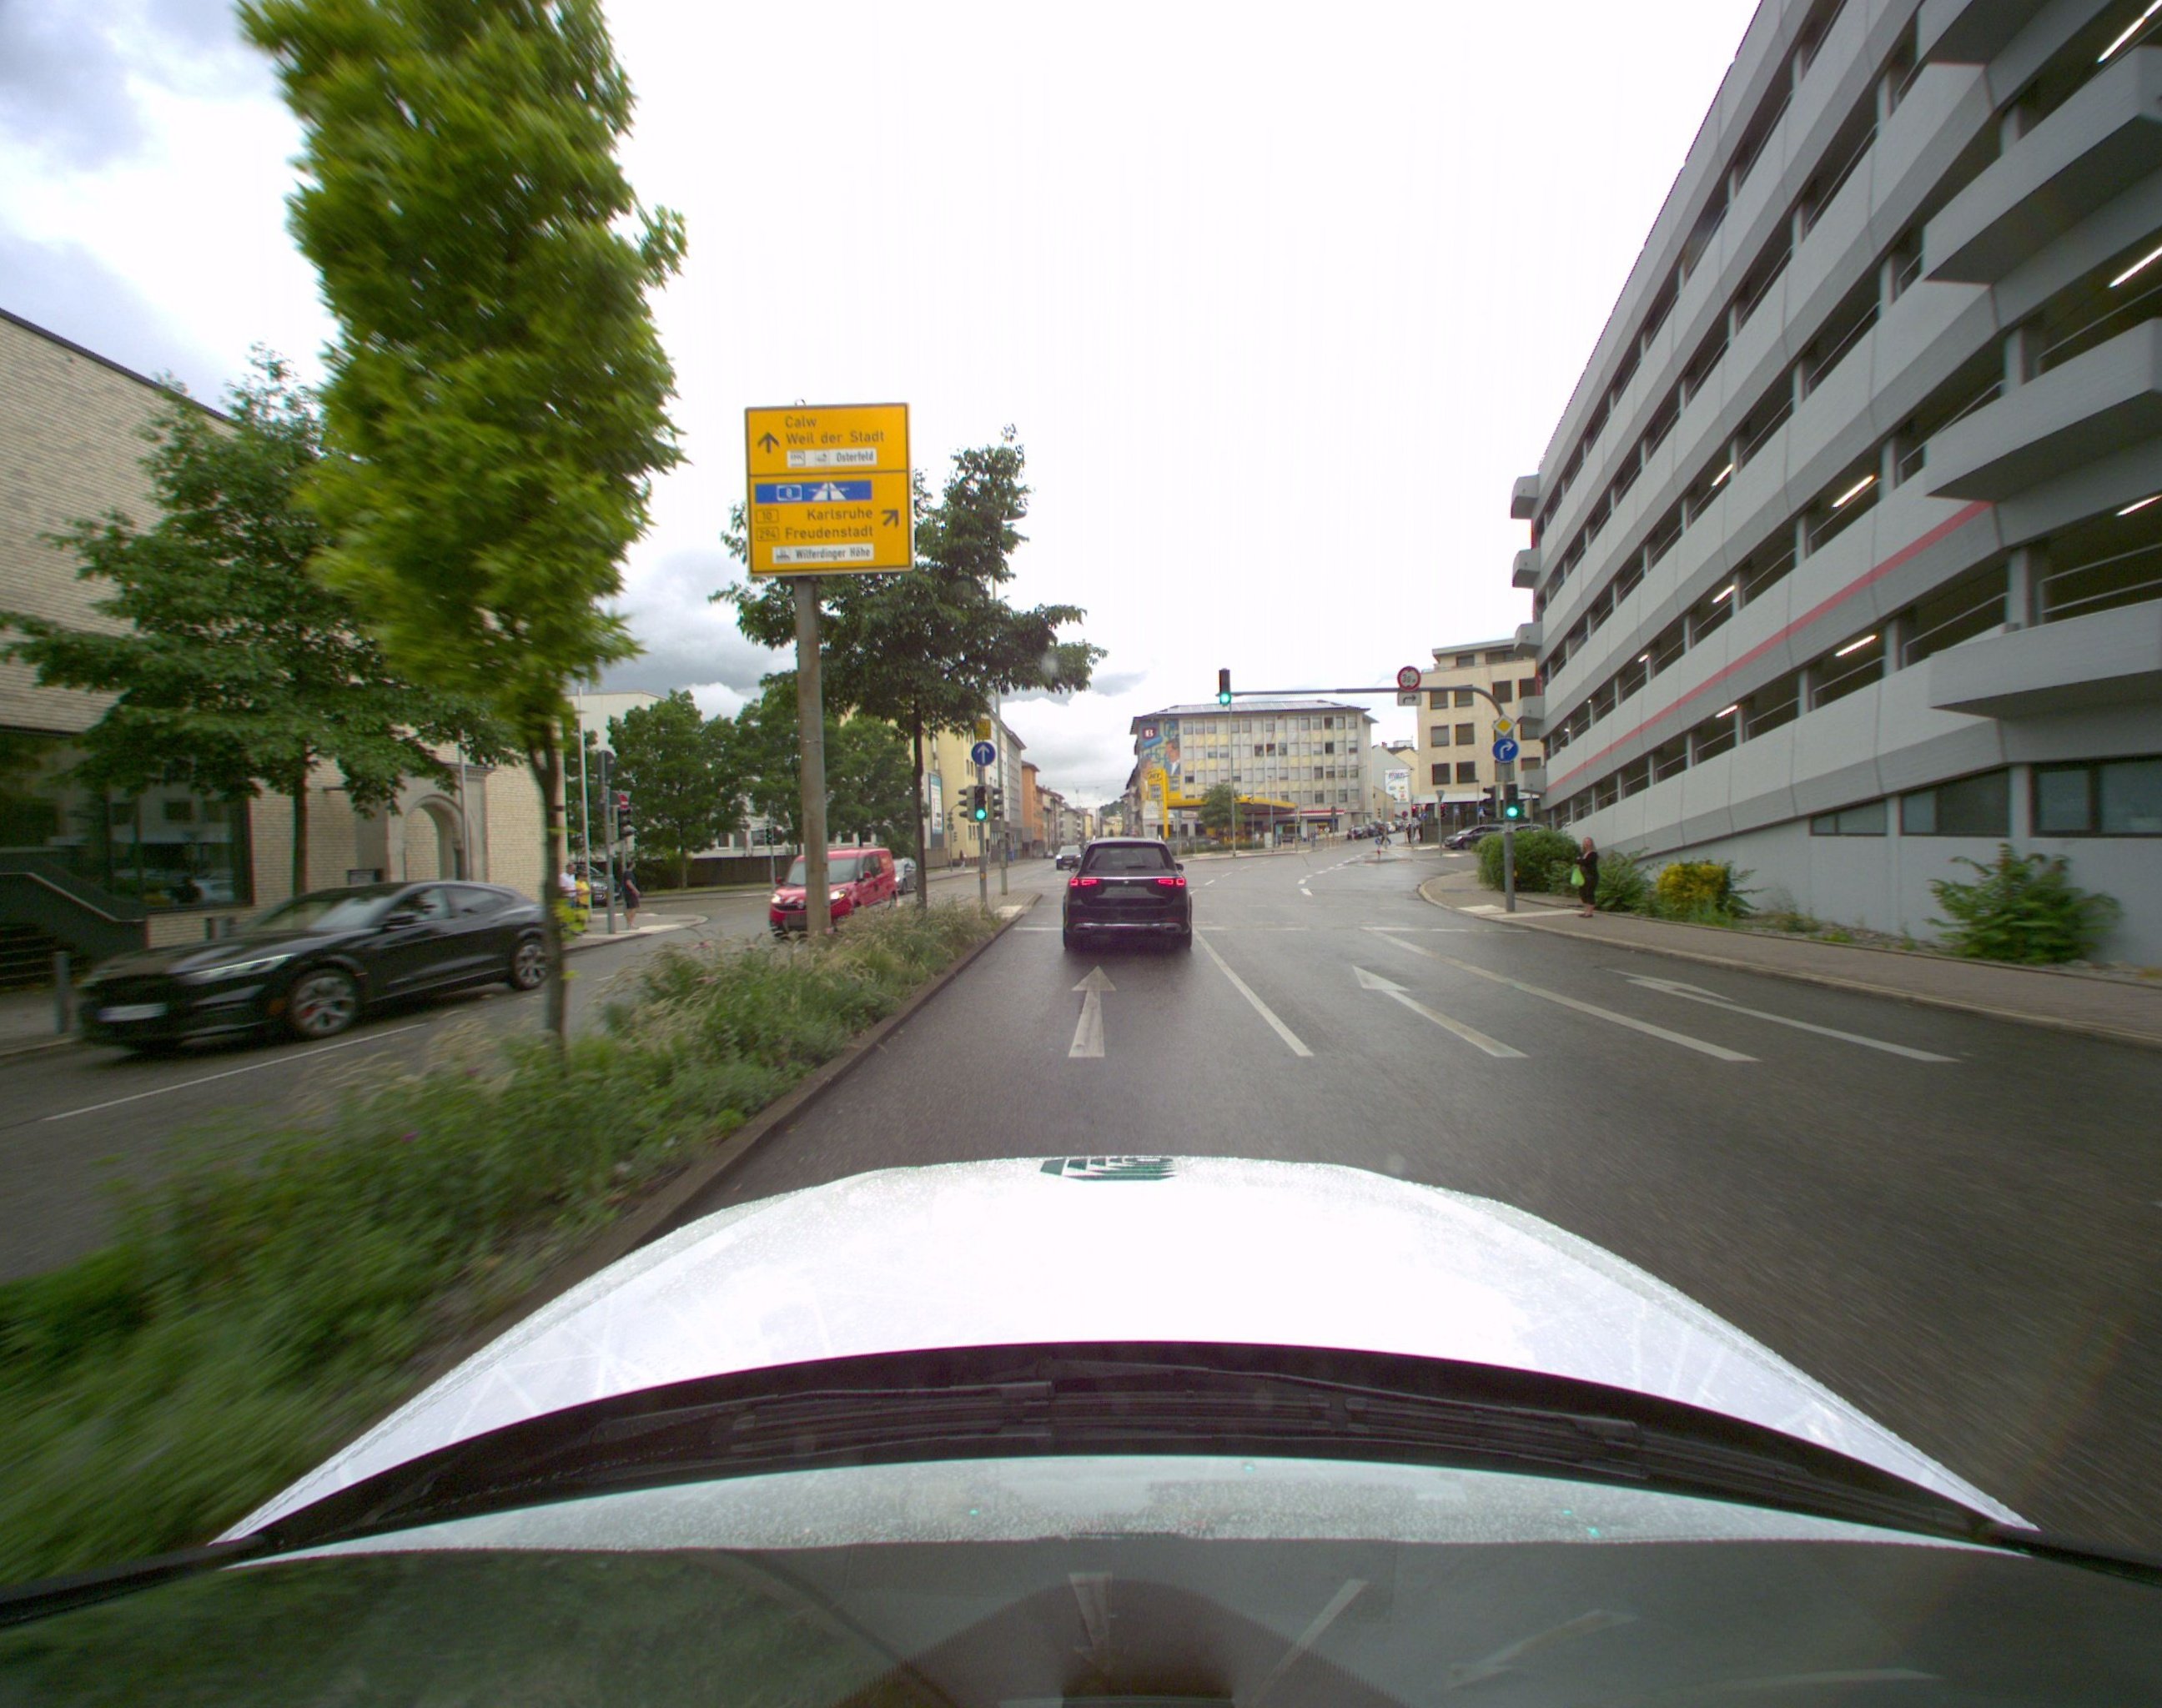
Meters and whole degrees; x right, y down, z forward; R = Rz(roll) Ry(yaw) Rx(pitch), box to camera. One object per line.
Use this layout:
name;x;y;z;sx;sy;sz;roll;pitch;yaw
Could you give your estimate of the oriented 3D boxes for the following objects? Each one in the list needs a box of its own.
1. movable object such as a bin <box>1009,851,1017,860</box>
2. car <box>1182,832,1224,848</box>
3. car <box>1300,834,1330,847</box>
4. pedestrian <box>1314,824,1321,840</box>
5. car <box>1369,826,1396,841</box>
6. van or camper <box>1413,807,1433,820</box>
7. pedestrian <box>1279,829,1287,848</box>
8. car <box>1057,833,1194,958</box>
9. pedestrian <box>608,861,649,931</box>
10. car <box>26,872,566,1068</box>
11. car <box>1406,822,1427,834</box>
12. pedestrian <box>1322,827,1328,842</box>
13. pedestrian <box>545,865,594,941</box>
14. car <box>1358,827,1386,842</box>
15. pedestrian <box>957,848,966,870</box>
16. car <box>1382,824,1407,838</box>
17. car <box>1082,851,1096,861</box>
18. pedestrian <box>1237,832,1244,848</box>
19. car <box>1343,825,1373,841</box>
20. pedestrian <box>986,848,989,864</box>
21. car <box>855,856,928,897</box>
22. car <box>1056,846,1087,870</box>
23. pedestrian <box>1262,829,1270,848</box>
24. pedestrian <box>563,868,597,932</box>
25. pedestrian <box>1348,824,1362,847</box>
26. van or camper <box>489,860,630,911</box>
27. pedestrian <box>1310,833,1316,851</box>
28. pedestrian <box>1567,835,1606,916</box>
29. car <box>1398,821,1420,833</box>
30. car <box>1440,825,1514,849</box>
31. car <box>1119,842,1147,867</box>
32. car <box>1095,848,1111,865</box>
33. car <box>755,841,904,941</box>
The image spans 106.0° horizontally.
movable object such as a bin;-7.876;0.156;94.299;0.906;1.038;0.844;0;-1;3
car;12.122;-1.355;81.078;1.746;1.376;3.952;-2;0;-41
car;28.701;-1.653;99.814;1.974;1.398;4.024;-1;-1;41
pedestrian;25.751;-2.425;88.648;0.521;1.727;0.693;-2;0;29
car;36.663;-2.539;98.904;1.974;1.706;4.026;-2;0;36
van or camper;56.341;-6.716;134.229;1.974;1.979;4.543;-2;0;36
pedestrian;17.992;-1.348;72.487;0.569;1.697;0.631;0;-1;3
car;0.735;0.638;13.872;1.986;1.800;4.002;0;-1;2
pedestrian;-11.710;1.072;21.086;0.687;1.757;0.716;-2;0;-9
car;-8.578;1.105;9.679;1.882;1.587;4.537;-4;0;1
car;50.637;-3.865;122.711;1.974;1.706;4.026;-2;0;36
pedestrian;26.341;-2.113;87.931;0.478;1.641;0.441;-1;-2;31
pedestrian;-11.615;1.099;18.504;0.609;1.656;0.691;-2;0;0
car;33.908;-2.263;94.778;1.974;1.706;4.026;-2;0;36
pedestrian;-9.439;0.394;64.477;0.626;1.727;0.649;-2;0;-8
car;39.958;-2.906;103.800;1.974;1.706;4.026;-2;0;36
car;1.411;0.337;137.158;1.984;1.547;4.195;0;-1;5
pedestrian;17.269;-1.515;88.033;0.521;1.727;0.693;-2;0;32
car;30.817;-2.352;90.612;1.974;1.706;4.026;-2;0;36
pedestrian;-9.880;0.211;85.880;0.244;1.624;0.411;0;-1;3
car;-7.918;0.892;34.416;1.839;1.429;4.437;-3;1;2
car;-0.628;0.321;56.911;1.986;1.614;4.191;0;-1;2
pedestrian;16.823;-1.376;73.994;0.521;1.727;0.693;-2;0;29
pedestrian;-12.278;1.124;19.985;0.437;1.534;0.546;-2;0;0
pedestrian;25.819;-1.716;76.668;0.853;2.128;0.947;-2;0;-4
van or camper;-22.249;1.321;34.878;4.720;1.931;2.024;-2;0;2
pedestrian;18.745;-0.966;65.793;0.394;1.400;0.447;0;-1;3
pedestrian;10.885;0.466;17.538;0.639;1.710;0.474;-1;-2;38
car;47.760;-3.947;118.620;1.974;1.706;4.026;-2;0;36
car;27.116;-1.179;55.869;4.159;1.439;1.863;-2;0;8
car;3.845;0.058;60.664;1.986;1.800;4.002;0;-1;2
car;2.659;0.278;98.699;1.986;2.014;4.001;0;-1;1
car;-5.514;0.746;18.560;1.787;1.854;4.792;-4;0;0
